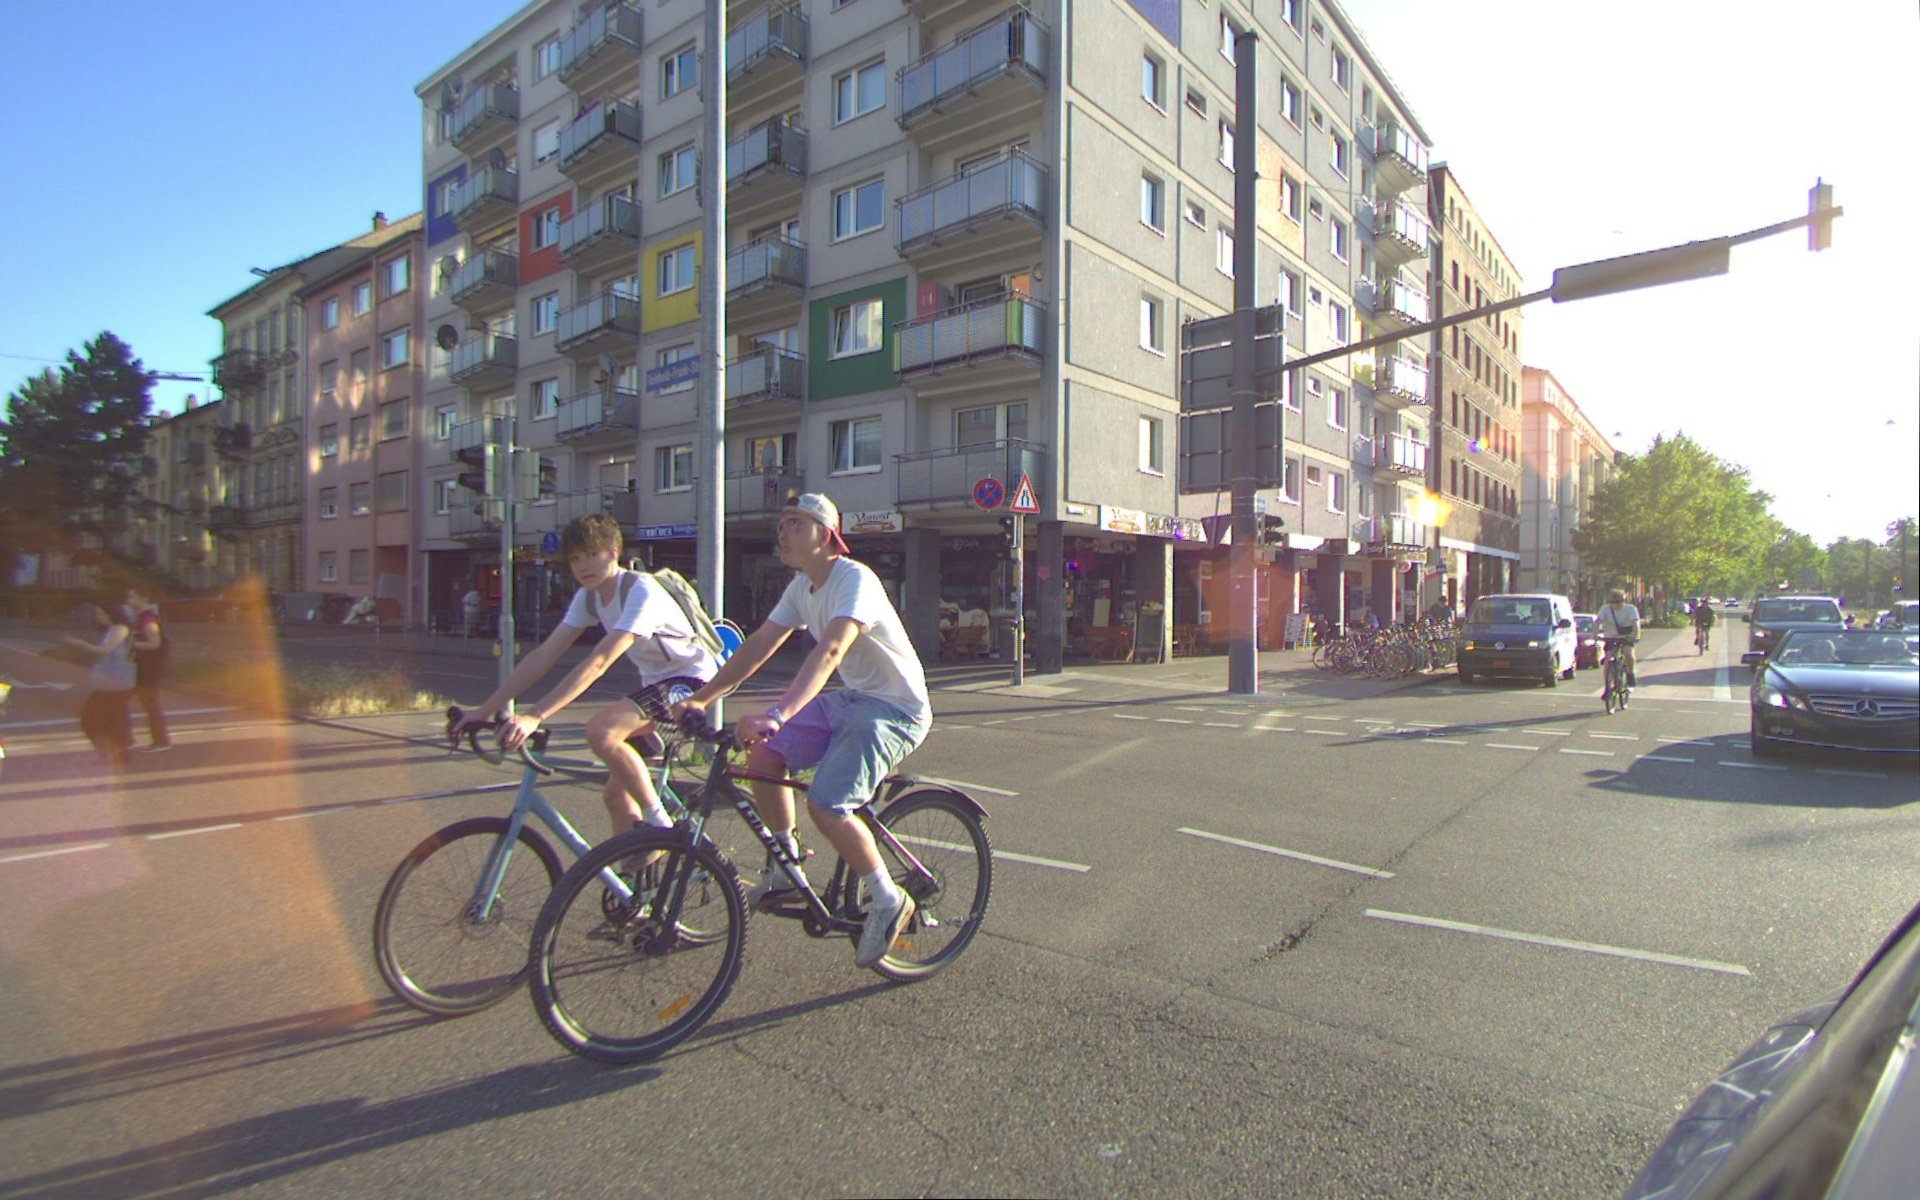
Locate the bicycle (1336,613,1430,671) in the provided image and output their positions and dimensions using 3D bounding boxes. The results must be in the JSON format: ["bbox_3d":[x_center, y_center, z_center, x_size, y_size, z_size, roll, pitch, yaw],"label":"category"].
[{"bbox_3d":[9.638,0.937,23.078,1.862,1.139,0.561,4,2,36],"label":"bicycle"}]

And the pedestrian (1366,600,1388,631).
[{"bbox_3d":[16.254,0.598,39.430,0.603,1.166,0.717,0,0,38],"label":"pedestrian"}]

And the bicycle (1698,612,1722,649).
[{"bbox_3d":[24.781,0.997,33.410,0.528,1.174,1.823,-1,-1,39],"label":"bicycle"}]

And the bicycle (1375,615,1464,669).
[{"bbox_3d":[11.103,0.988,24.496,1.862,1.139,0.561,4,2,36],"label":"bicycle"}]

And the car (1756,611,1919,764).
[{"bbox_3d":[9.841,0.819,11.017,1.767,1.324,4.183,0,0,37],"label":"car"}]

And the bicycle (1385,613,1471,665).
[{"bbox_3d":[11.747,0.958,25.431,1.862,1.139,0.561,4,2,36],"label":"bicycle"}]

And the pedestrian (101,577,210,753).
[{"bbox_3d":[-8.086,0.618,10.172,0.681,1.683,0.736,0,0,40],"label":"pedestrian"}]

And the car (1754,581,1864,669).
[{"bbox_3d":[21.480,0.552,25.774,1.910,2.015,4.880,0,0,37],"label":"car"}]

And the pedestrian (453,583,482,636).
[{"bbox_3d":[-16.910,0.317,34.721,0.699,1.798,0.726,0,0,-44],"label":"pedestrian"}]

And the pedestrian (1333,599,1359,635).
[{"bbox_3d":[14.589,0.640,38.259,0.644,1.311,0.940,0,0,41],"label":"pedestrian"}]

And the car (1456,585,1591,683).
[{"bbox_3d":[12.710,0.652,22.670,1.933,1.957,4.765,0,0,38],"label":"car"}]

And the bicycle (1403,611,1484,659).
[{"bbox_3d":[13.034,0.924,27.292,1.862,1.139,0.561,4,2,36],"label":"bicycle"}]

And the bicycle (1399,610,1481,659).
[{"bbox_3d":[12.713,0.906,26.827,1.862,1.139,0.561,4,2,36],"label":"bicycle"}]

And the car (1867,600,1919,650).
[{"bbox_3d":[29.230,0.736,31.007,1.806,1.419,3.865,-3,-1,38],"label":"car"}]

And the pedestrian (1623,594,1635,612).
[{"bbox_3d":[52.866,0.225,79.964,0.724,1.458,0.911,0,0,37],"label":"pedestrian"}]

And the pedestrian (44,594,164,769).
[{"bbox_3d":[-7.860,0.707,9.302,0.681,1.519,0.736,0,0,40],"label":"pedestrian"}]

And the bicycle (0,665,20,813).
[{"bbox_3d":[-7.430,0.983,6.647,1.820,0.993,0.521,0,0,-45],"label":"bicycle"}]

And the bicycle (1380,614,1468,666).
[{"bbox_3d":[11.424,0.966,24.965,1.862,1.139,0.561,4,2,36],"label":"bicycle"}]

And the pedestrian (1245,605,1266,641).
[{"bbox_3d":[9.465,0.734,32.369,0.638,1.113,0.542,0,0,17],"label":"pedestrian"}]

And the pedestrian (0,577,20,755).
[{"bbox_3d":[-9.560,0.620,9.571,0.726,1.683,0.892,0,0,40],"label":"pedestrian"}]

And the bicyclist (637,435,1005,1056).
[{"bbox_3d":[-0.496,0.423,3.647,1.039,1.830,0.828,0,0,-41],"label":"bicyclist"}]

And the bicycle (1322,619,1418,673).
[{"bbox_3d":[8.909,0.977,22.029,1.863,1.074,0.599,1,0,37],"label":"bicycle"}]

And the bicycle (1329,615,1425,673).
[{"bbox_3d":[9.298,0.962,22.596,1.862,1.139,0.599,4,2,36],"label":"bicycle"}]

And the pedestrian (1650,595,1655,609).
[{"bbox_3d":[70.951,0.199,103.650,0.351,1.458,0.310,0,-1,-44],"label":"pedestrian"}]

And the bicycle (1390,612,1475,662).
[{"bbox_3d":[12.067,0.928,25.898,1.862,1.139,0.561,4,2,36],"label":"bicycle"}]

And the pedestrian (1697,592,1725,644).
[{"bbox_3d":[24.775,0.592,33.374,0.676,1.670,0.889,-1,-1,39],"label":"pedestrian"}]

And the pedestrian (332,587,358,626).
[{"bbox_3d":[-24.987,0.255,41.118,0.724,1.596,0.701,0,0,38],"label":"pedestrian"}]

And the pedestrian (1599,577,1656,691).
[{"bbox_3d":[10.125,0.506,15.349,0.637,1.670,0.831,-1,-1,38],"label":"pedestrian"}]

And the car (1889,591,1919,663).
[{"bbox_3d":[25.568,0.627,26.047,1.946,1.734,4.785,-3,-1,37],"label":"car"}]

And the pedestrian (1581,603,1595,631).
[{"bbox_3d":[36.428,0.963,58.668,0.600,1.616,0.872,0,0,38],"label":"pedestrian"}]

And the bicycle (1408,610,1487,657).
[{"bbox_3d":[13.355,0.910,27.755,1.862,1.139,0.561,4,2,36],"label":"bicycle"}]

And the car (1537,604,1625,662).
[{"bbox_3d":[17.545,0.882,28.546,1.679,1.499,3.490,-2,-1,38],"label":"car"}]

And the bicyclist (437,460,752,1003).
[{"bbox_3d":[-1.426,0.438,4.007,0.673,1.830,0.978,0,0,43],"label":"bicyclist"}]

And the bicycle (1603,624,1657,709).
[{"bbox_3d":[10.238,0.979,15.440,0.527,1.174,1.824,-1,-1,38],"label":"bicycle"}]

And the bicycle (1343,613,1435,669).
[{"bbox_3d":[9.968,0.936,23.566,1.862,1.139,0.561,4,2,36],"label":"bicycle"}]

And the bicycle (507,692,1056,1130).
[{"bbox_3d":[-0.509,0.924,3.592,1.947,1.041,0.479,0,1,-42],"label":"bicycle"}]

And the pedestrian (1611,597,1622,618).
[{"bbox_3d":[52.232,0.593,80.513,0.724,1.697,0.911,0,0,37],"label":"pedestrian"}]

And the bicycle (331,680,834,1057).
[{"bbox_3d":[-1.401,0.919,4.069,0.575,1.041,1.828,1,1,43],"label":"bicycle"}]

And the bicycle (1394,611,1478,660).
[{"bbox_3d":[12.389,0.905,26.362,1.862,1.139,0.561,4,2,36],"label":"bicycle"}]

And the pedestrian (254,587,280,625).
[{"bbox_3d":[-29.221,0.248,42.667,0.723,1.596,0.702,0,0,37],"label":"pedestrian"}]

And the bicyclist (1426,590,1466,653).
[{"bbox_3d":[14.423,0.622,30.017,0.741,1.830,1.365,0,0,41],"label":"bicyclist"}]

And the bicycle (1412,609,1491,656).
[{"bbox_3d":[13.692,0.889,28.217,1.862,1.139,0.561,4,2,36],"label":"bicycle"}]

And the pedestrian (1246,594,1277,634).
[{"bbox_3d":[9.856,0.455,33.114,0.633,1.290,0.862,0,0,-14],"label":"pedestrian"}]

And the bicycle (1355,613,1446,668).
[{"bbox_3d":[10.487,0.942,24.123,1.862,1.139,0.561,4,2,36],"label":"bicycle"}]

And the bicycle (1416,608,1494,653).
[{"bbox_3d":[14.012,0.855,28.679,1.862,1.139,0.561,4,2,36],"label":"bicycle"}]

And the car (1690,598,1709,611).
[{"bbox_3d":[94.236,0.566,128.955,1.767,1.501,4.249,0,0,38],"label":"car"}]
